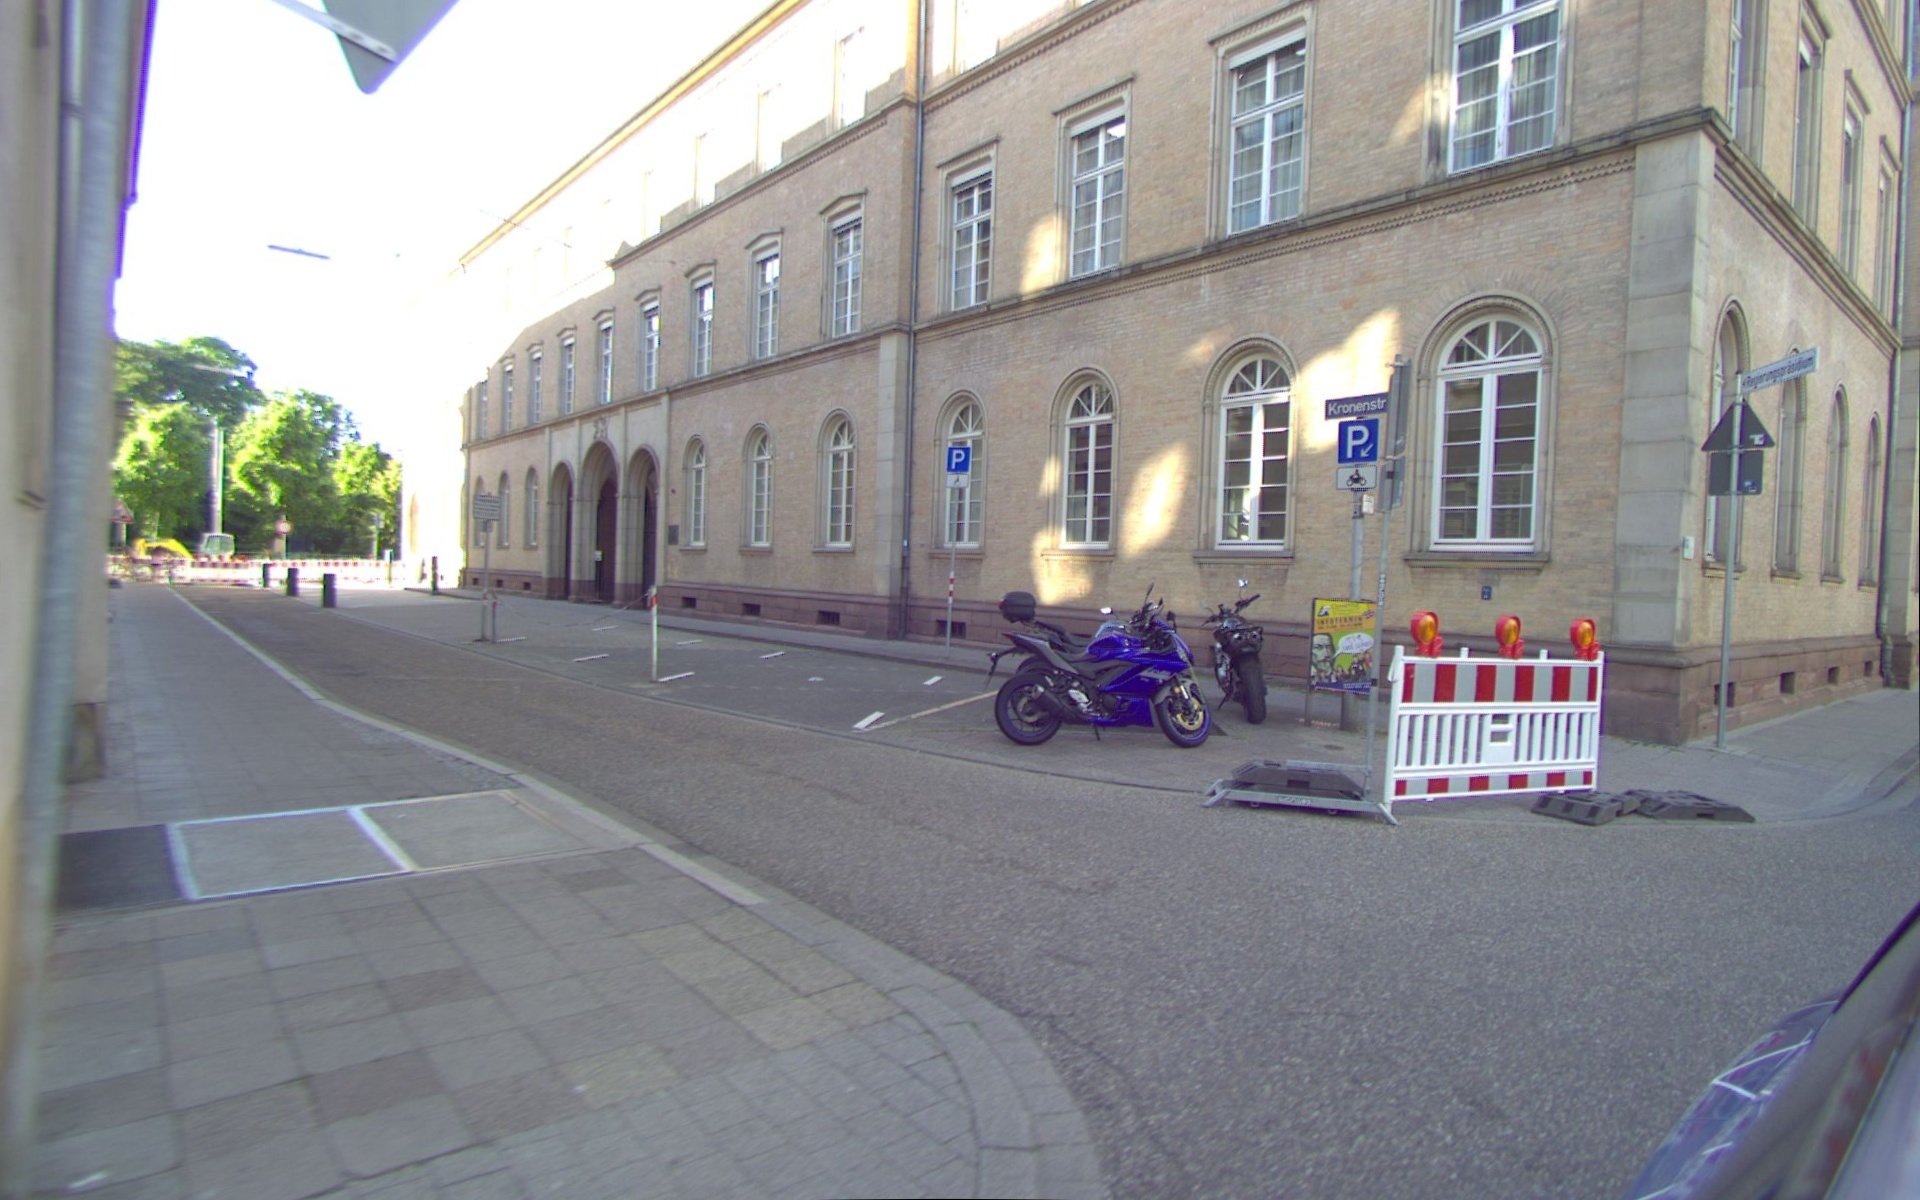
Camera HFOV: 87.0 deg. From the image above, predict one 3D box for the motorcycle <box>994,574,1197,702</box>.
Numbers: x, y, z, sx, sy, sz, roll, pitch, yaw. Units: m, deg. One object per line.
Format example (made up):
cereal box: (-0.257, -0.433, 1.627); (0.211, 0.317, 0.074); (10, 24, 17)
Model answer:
motorcycle: (1.444, 0.384, 11.122); (2.106, 1.304, 0.828); (1, 1, 4)

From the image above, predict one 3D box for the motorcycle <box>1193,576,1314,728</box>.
motorcycle: (2.928, 0.451, 10.319); (0.694, 1.349, 2.079); (1, 2, 3)

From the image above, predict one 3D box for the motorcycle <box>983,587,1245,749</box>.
motorcycle: (1.278, 0.550, 8.774); (2.111, 1.239, 0.875); (1, 3, 4)

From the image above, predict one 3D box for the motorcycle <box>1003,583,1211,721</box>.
motorcycle: (1.404, 0.482, 9.981); (1.919, 1.240, 0.828); (1, 1, 4)
